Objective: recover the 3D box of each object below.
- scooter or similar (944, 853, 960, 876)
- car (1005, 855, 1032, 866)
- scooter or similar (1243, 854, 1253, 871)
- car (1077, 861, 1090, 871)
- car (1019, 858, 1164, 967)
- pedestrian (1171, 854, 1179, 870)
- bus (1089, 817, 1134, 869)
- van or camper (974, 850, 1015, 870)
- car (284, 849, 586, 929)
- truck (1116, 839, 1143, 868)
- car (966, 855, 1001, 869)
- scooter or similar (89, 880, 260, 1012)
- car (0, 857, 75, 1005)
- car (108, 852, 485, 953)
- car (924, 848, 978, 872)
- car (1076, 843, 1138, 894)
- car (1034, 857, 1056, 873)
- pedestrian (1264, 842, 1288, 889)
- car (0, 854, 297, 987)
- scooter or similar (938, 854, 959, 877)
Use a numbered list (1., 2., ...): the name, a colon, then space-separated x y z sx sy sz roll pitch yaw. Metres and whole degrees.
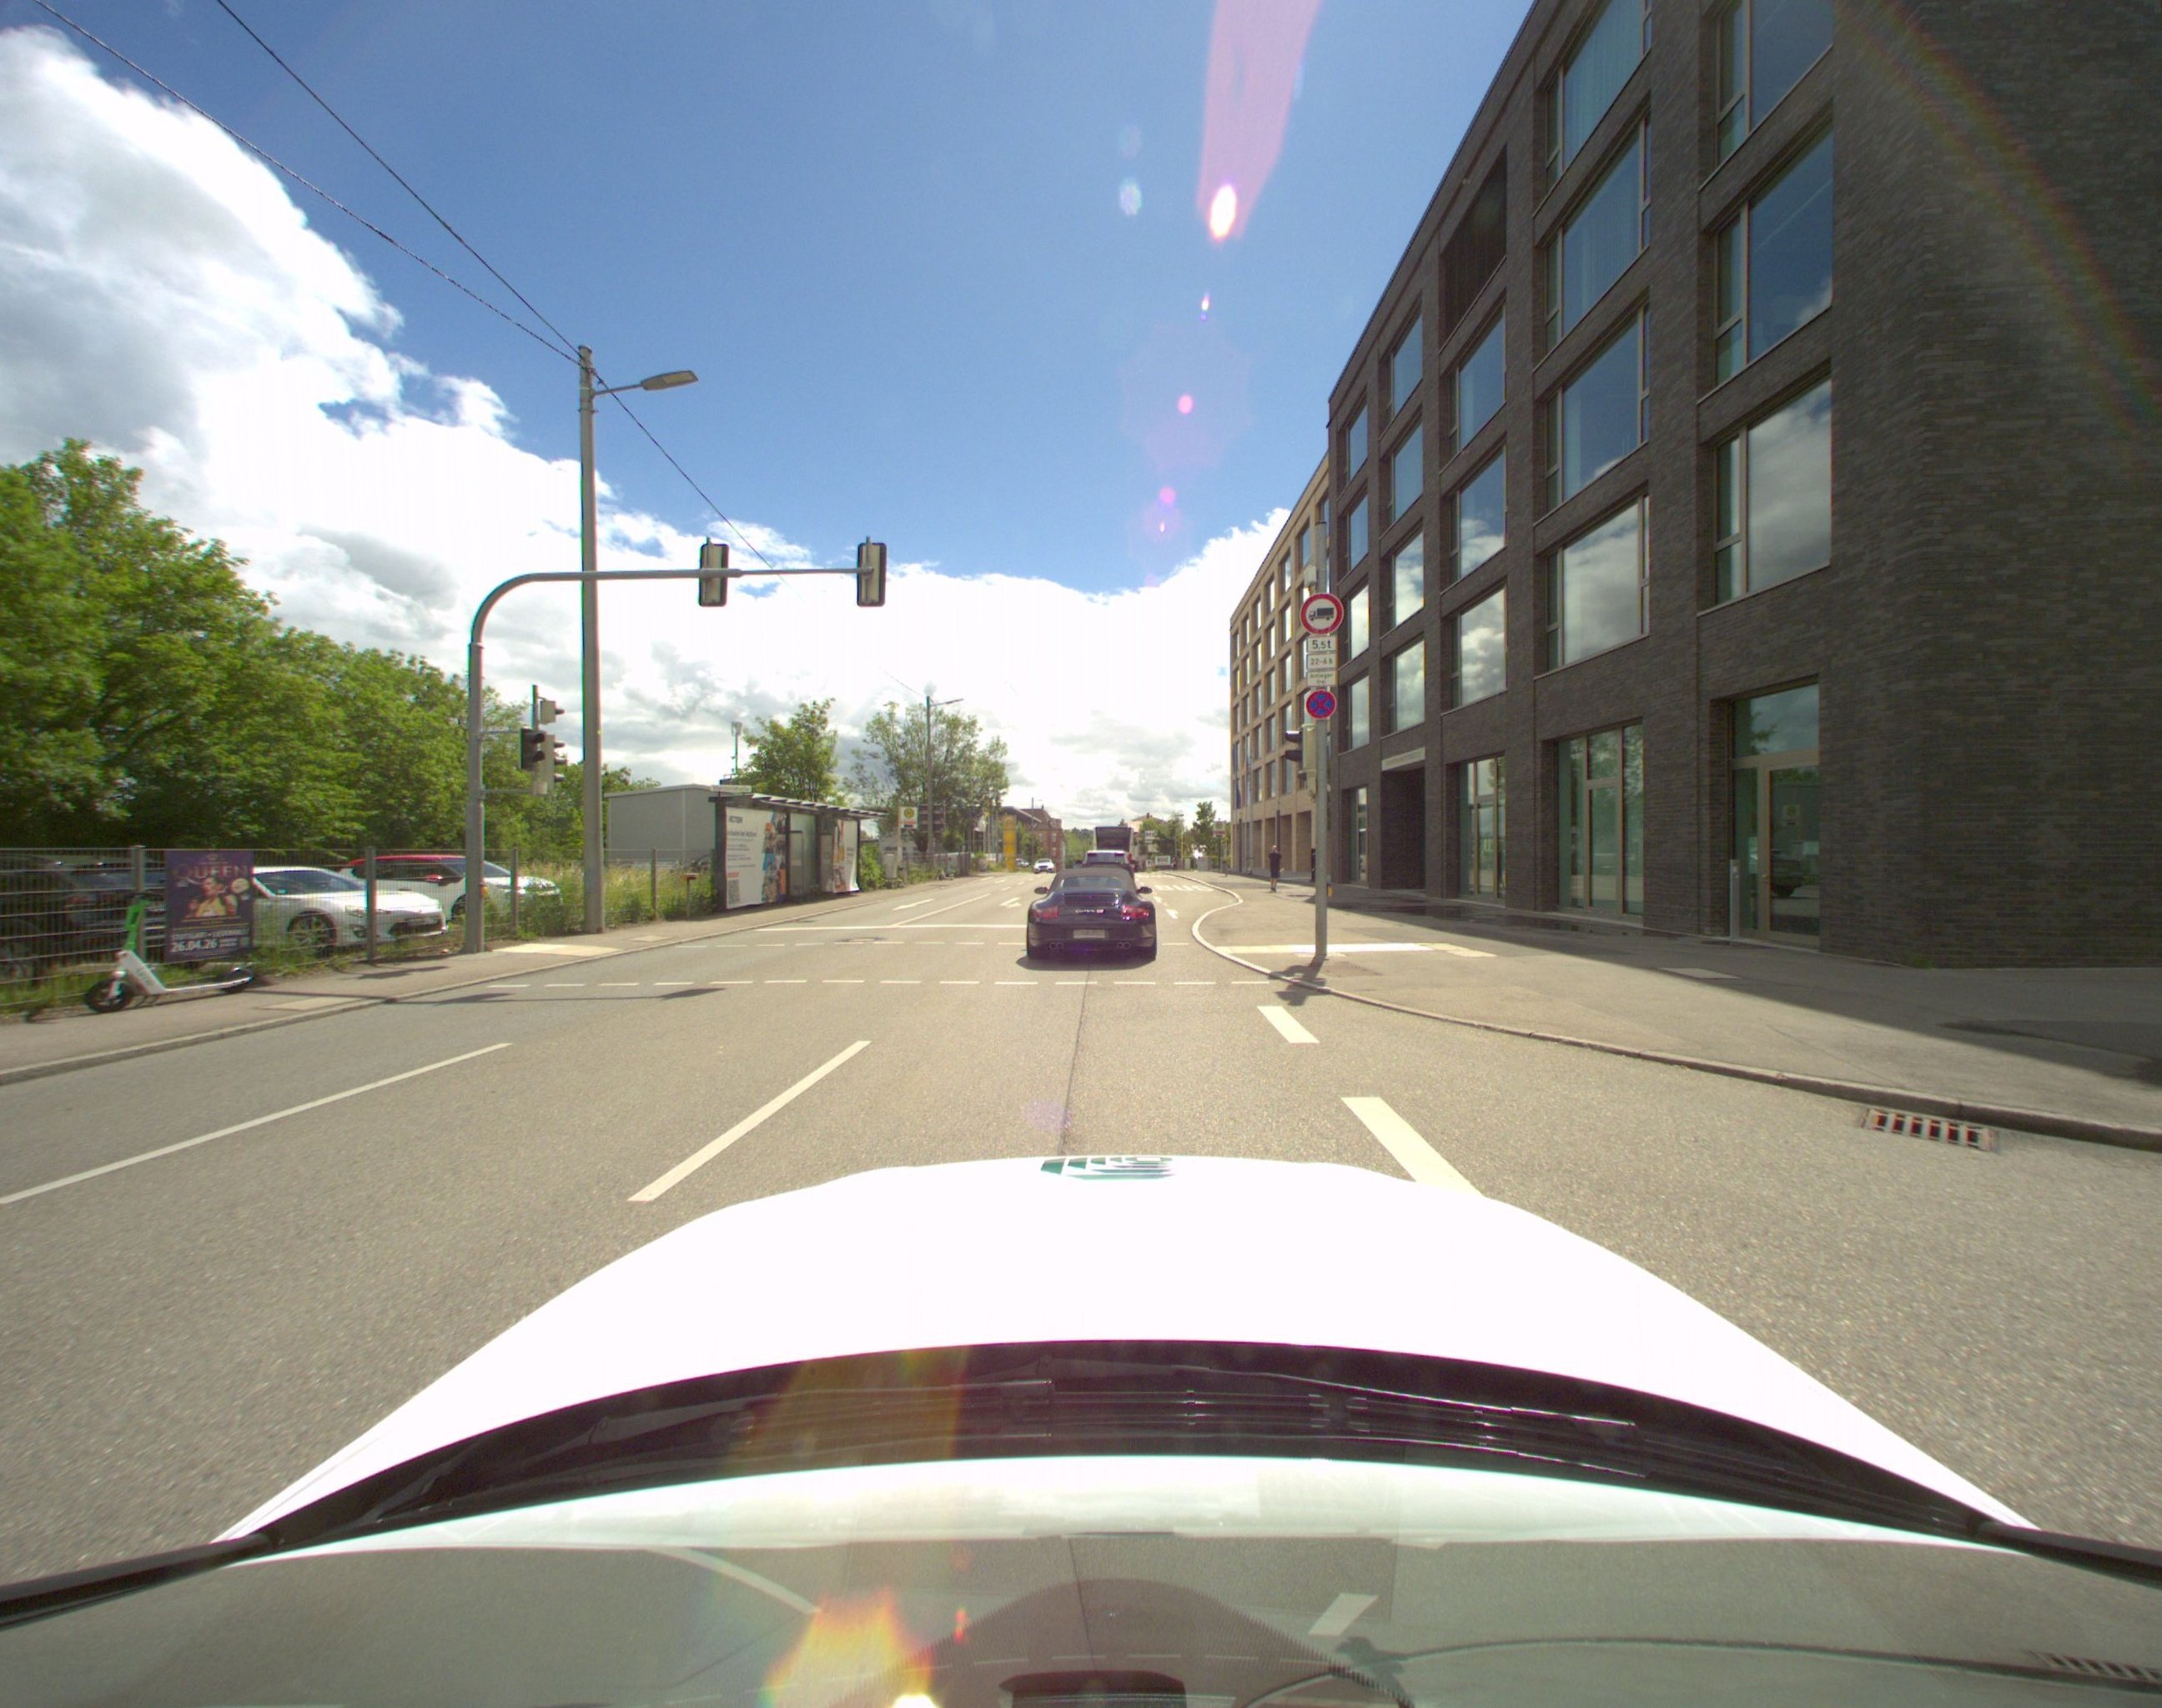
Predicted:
1. scooter or similar: -7.400 0.605 46.769 0.532 1.266 1.474 1 0 7
2. car: -9.122 0.991 118.794 1.913 1.573 4.579 -1 -2 25
3. scooter or similar: 11.296 0.587 55.110 0.425 1.153 1.404 -1 0 1
4. car: 0.365 1.773 118.710 1.823 1.509 4.275 -1 -1 0
5. car: 0.230 0.781 12.920 1.923 1.376 4.211 0 1 2
6. pedestrian: 9.244 0.785 79.780 0.685 1.536 0.856 -1 -1 1
7. bus: 2.237 -0.726 56.524 2.790 3.197 12.206 0 1 3
8. van or camper: -11.076 0.710 105.017 5.010 2.531 2.318 0 0 0
9. car: -12.375 0.642 15.818 4.292 1.419 2.026 -1 0 3
10. truck: 5.315 -0.102 91.139 2.704 3.054 7.715 -1 0 1
11. car: -12.204 0.992 102.416 3.966 1.706 2.004 0 0 6
12. scooter or similar: -9.303 0.902 8.410 0.421 1.210 1.128 1 0 6
13. car: -12.442 0.762 7.404 4.088 1.419 2.000 -1 0 1
14. car: -12.090 0.705 12.768 4.087 1.419 1.917 -1 0 2
15. car: -10.840 0.500 68.116 4.148 2.013 2.198 0 0 -1
16. car: 0.798 0.444 27.566 1.925 1.583 4.207 0 0 -1
17. car: -3.437 1.053 78.043 1.790 1.376 4.226 -1 1 2
18. pedestrian: 7.416 0.429 30.991 0.680 1.728 0.962 0 0 1
19. car: -12.517 0.741 9.816 4.091 1.419 1.999 -1 0 -2
20. scooter or similar: -7.355 0.619 45.269 0.530 1.262 1.478 1 0 19
